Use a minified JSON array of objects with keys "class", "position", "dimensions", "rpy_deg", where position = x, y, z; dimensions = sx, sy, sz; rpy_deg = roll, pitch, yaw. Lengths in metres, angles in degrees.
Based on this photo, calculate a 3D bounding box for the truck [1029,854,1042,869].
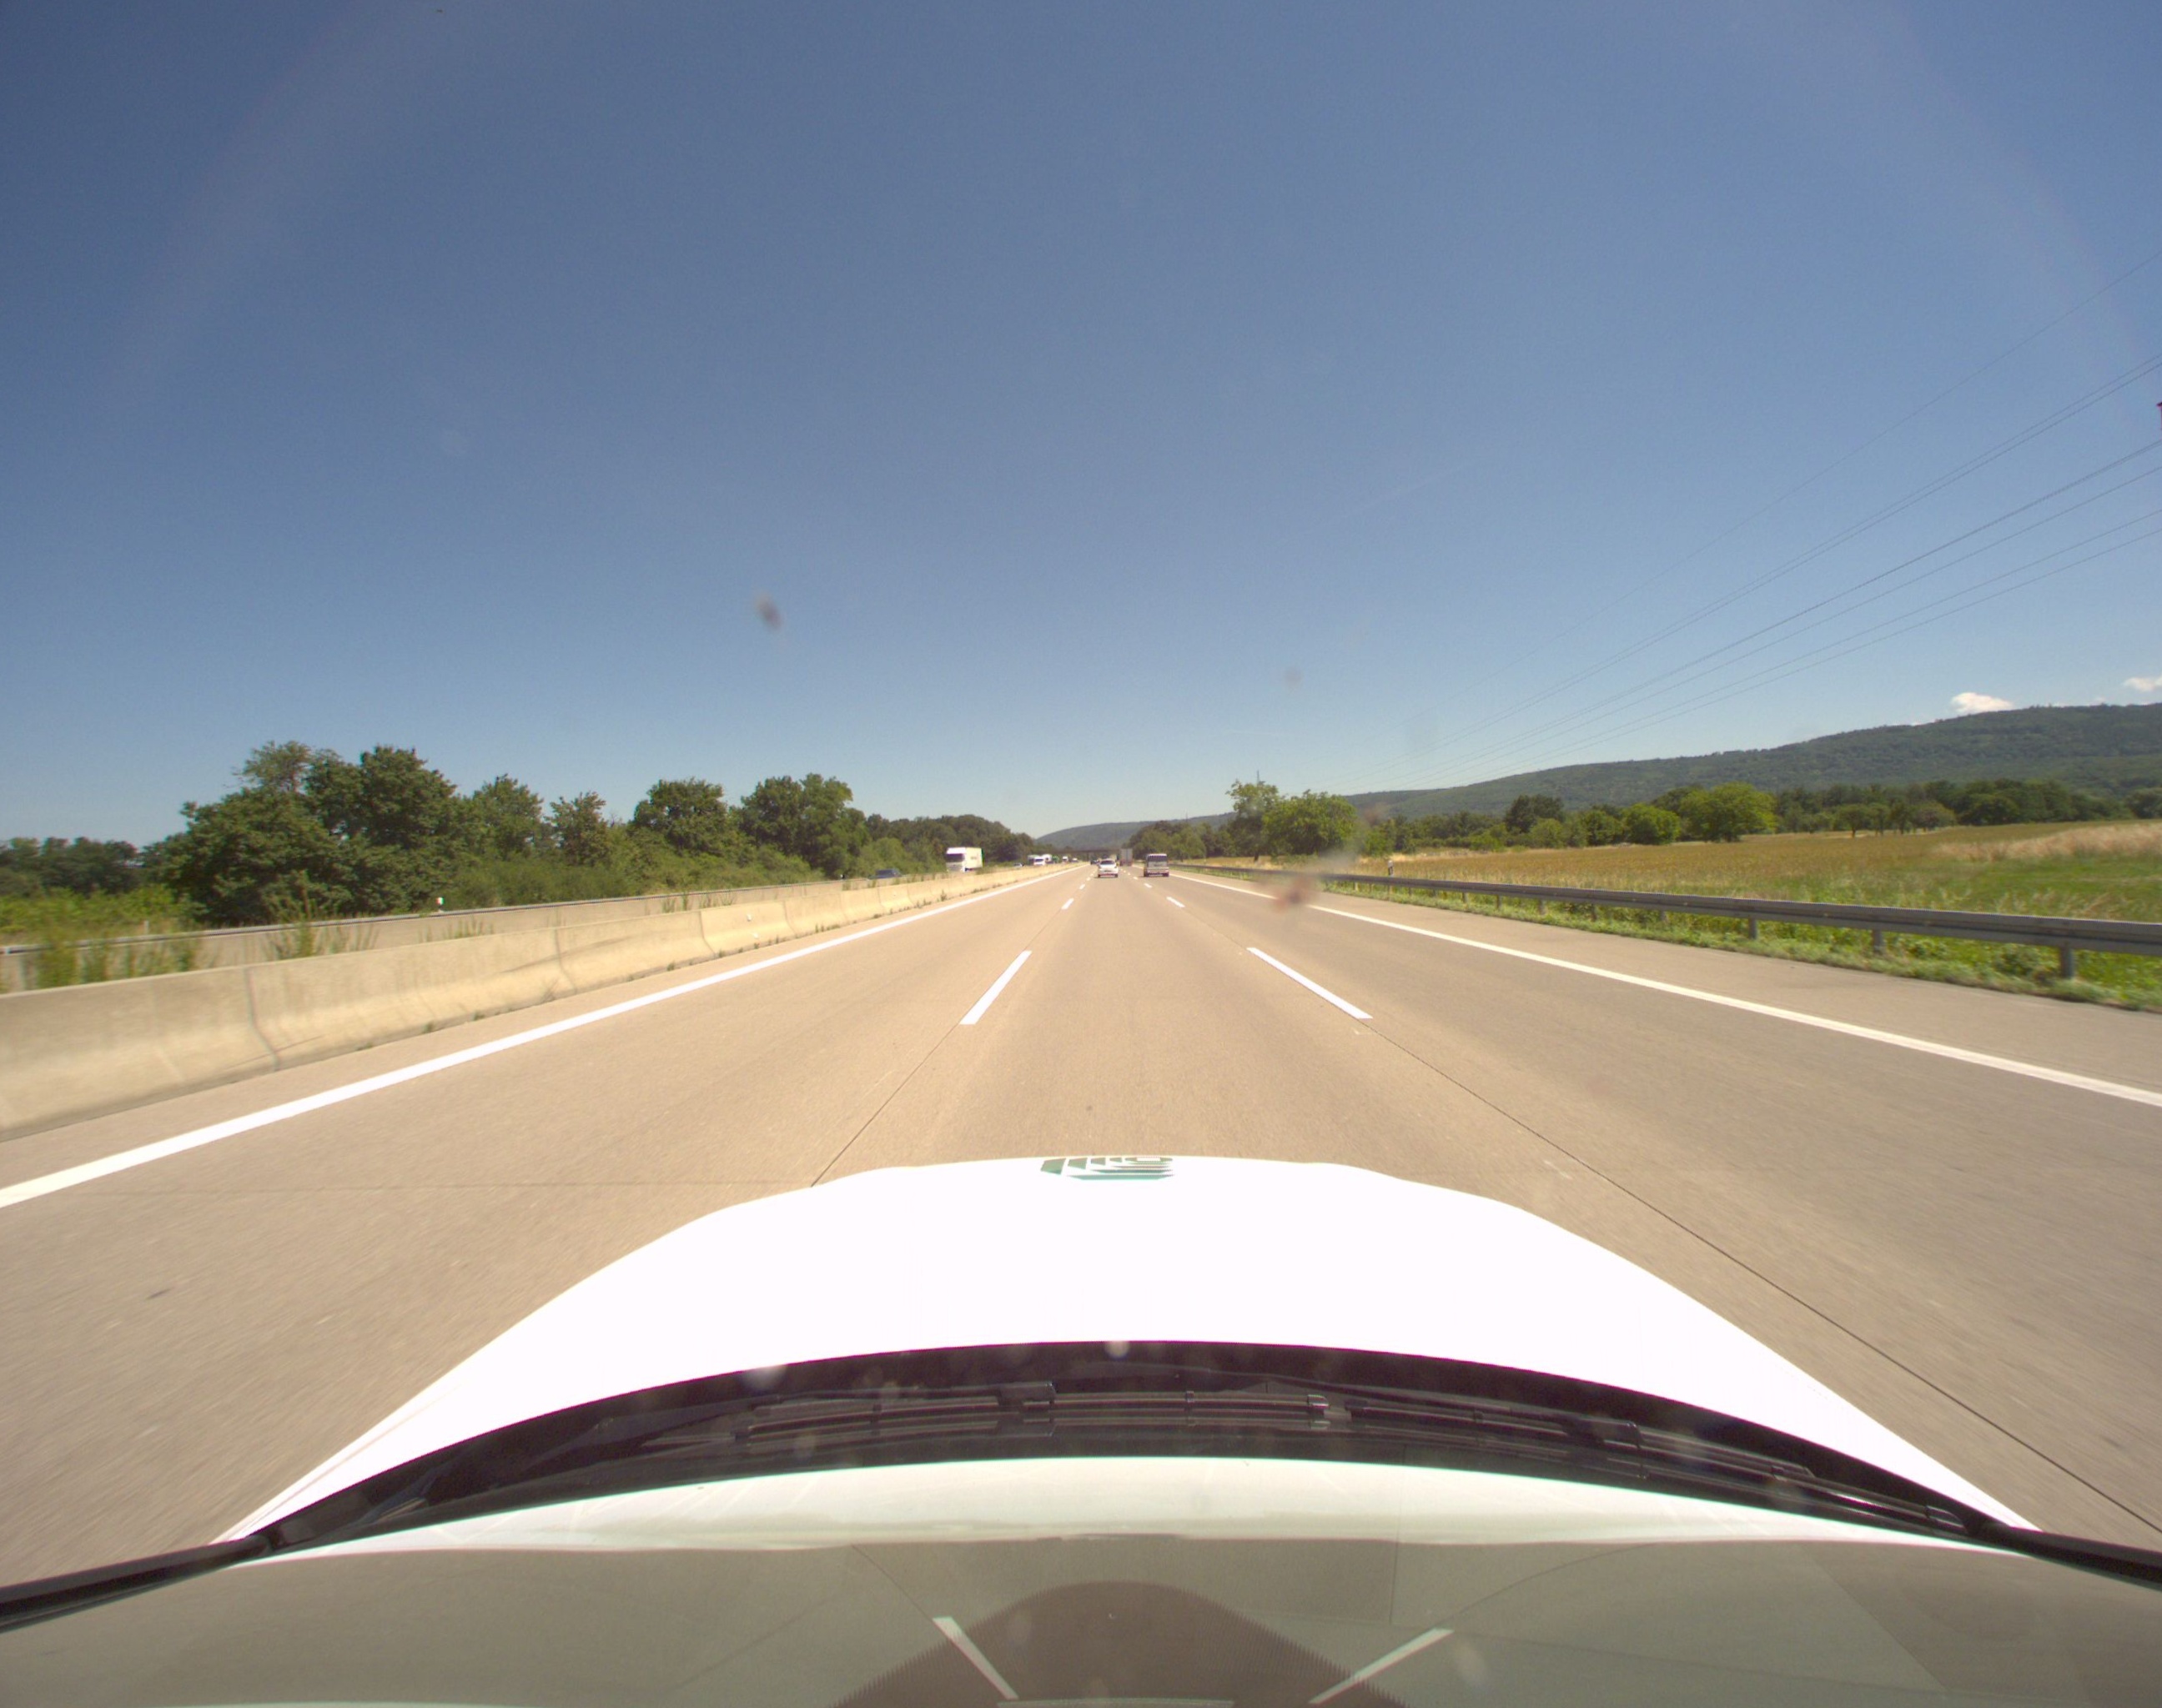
[{"class":"truck","position":[-12.526,1.969,223.331],"dimensions":[2.942,4.127,5.088],"rpy_deg":[-1,0,2]}]

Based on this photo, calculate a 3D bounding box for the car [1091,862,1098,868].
[{"class":"car","position":[4.003,3.378,243.043],"dimensions":[1.922,1.794,4.001],"rpy_deg":[-1,0,1]}]

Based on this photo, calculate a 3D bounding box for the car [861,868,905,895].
[{"class":"car","position":[-14.669,1.993,60.647],"dimensions":[1.986,1.882,4.694],"rpy_deg":[-1,0,2]}]

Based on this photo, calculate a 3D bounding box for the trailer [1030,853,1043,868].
[{"class":"trailer","position":[-12.339,1.778,227.500],"dimensions":[2.942,4.105,8.488],"rpy_deg":[-1,0,2]}]

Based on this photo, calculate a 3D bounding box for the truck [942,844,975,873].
[{"class":"truck","position":[-16.992,0.633,113.390],"dimensions":[3.149,3.908,8.375],"rpy_deg":[-1,0,1]}]

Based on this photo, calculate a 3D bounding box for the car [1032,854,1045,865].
[{"class":"car","position":[-7.904,1.081,151.633],"dimensions":[2.061,2.013,5.982],"rpy_deg":[-1,0,1]}]

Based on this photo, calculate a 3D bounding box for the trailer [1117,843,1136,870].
[{"class":"trailer","position":[10.264,0.545,185.715],"dimensions":[3.709,5.811,12.160],"rpy_deg":[-1,0,0]}]

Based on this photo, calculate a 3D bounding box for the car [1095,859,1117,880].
[{"class":"car","position":[2.113,1.277,68.911],"dimensions":[1.813,1.662,4.001],"rpy_deg":[-1,0,1]}]

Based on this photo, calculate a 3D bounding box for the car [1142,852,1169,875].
[{"class":"car","position":[6.231,0.779,68.264],"dimensions":[1.986,1.849,4.001],"rpy_deg":[0,0,1]}]

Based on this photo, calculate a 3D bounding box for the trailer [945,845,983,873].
[{"class":"trailer","position":[-16.852,0.653,118.720],"dimensions":[3.149,3.838,14.034],"rpy_deg":[-1,0,1]}]

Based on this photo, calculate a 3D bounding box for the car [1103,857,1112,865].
[{"class":"car","position":[5.880,1.545,180.416],"dimensions":[1.987,1.849,4.000],"rpy_deg":[1,0,0]}]
